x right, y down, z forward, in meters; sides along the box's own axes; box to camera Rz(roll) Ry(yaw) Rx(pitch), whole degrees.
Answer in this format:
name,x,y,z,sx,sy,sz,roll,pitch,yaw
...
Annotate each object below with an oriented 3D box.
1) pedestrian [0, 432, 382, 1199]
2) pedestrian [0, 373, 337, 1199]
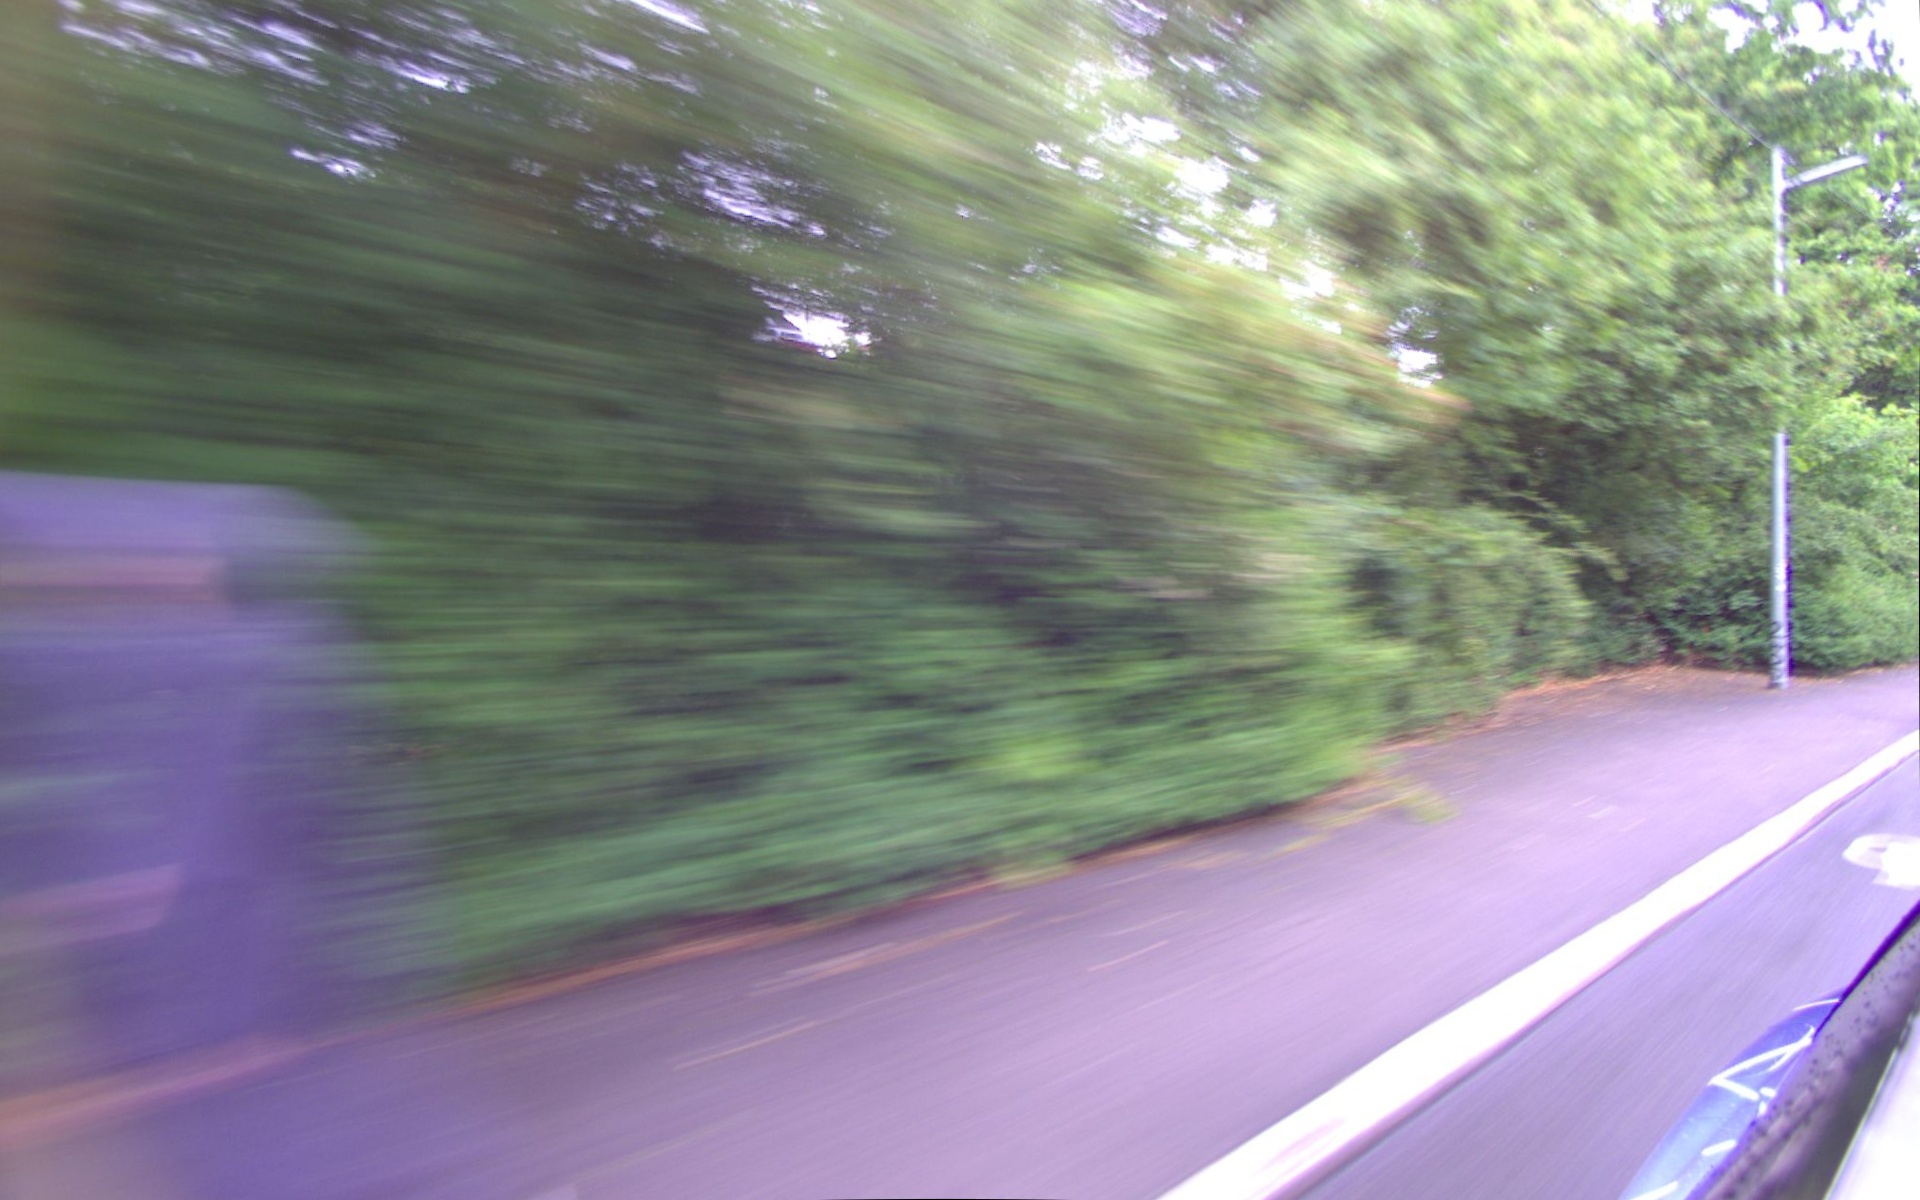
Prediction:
name,x,y,z,sx,sy,sz,roll,pitch,yaw
pedestrian,-1.595,0.517,2.042,0.655,1.586,0.598,3,-1,-27
pedestrian,-1.257,0.503,1.528,0.477,1.586,0.555,0,2,-26
